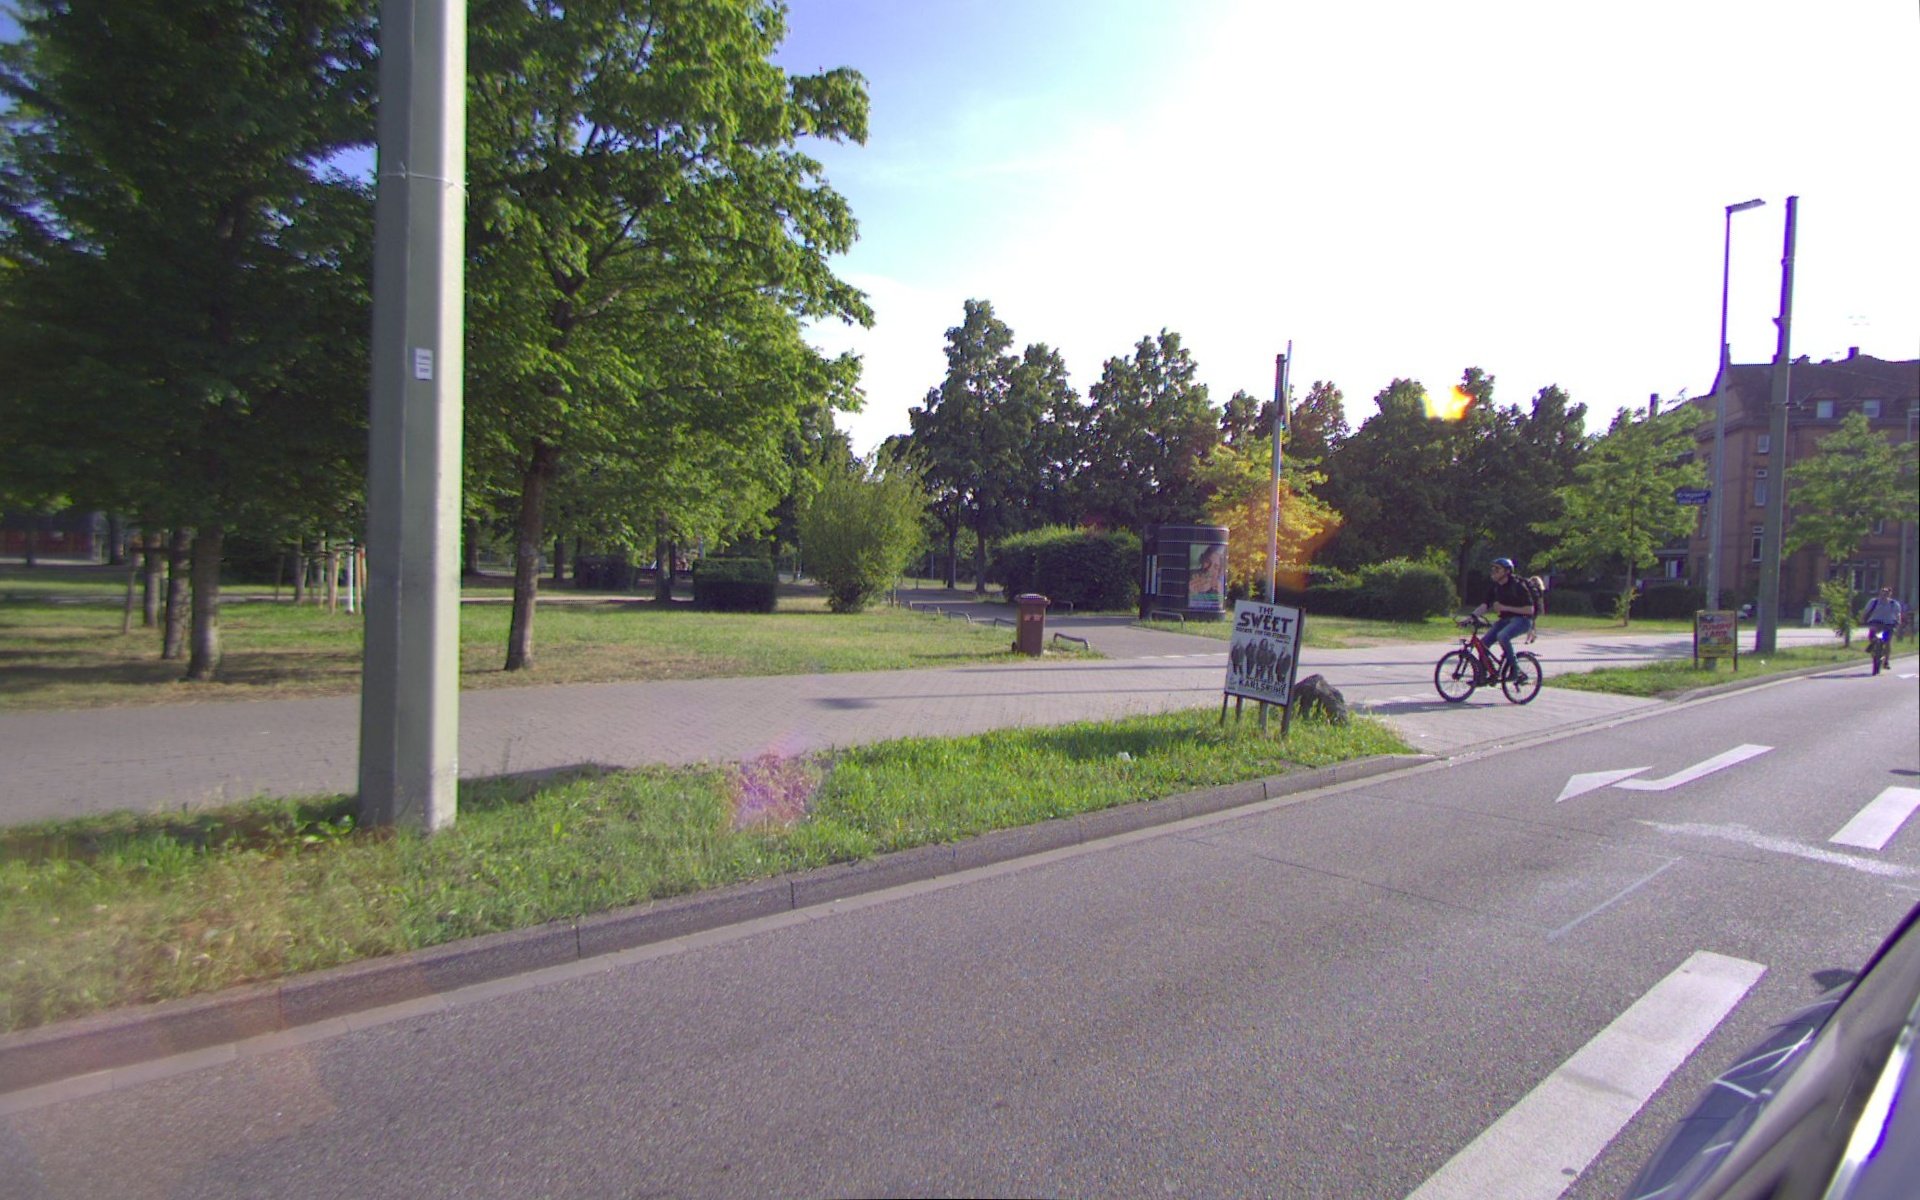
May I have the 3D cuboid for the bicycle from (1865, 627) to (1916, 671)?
[{"bbox_3d":[19.420,1.008,21.116,2.006,0.803,0.567,0,2,-42],"label":"bicycle"}]

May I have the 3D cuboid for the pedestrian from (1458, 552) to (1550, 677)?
[{"bbox_3d":[6.920,0.174,12.877,0.827,1.540,0.639,0,0,-19],"label":"pedestrian"}]

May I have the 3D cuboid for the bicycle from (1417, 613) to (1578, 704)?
[{"bbox_3d":[6.801,0.712,12.811,1.939,1.059,0.653,0,0,-19],"label":"bicycle"}]

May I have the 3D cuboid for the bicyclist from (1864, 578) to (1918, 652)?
[{"bbox_3d":[19.406,0.300,21.089,1.092,1.472,0.688,0,2,-42],"label":"bicyclist"}]

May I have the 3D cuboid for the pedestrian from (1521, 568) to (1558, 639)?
[{"bbox_3d":[14.290,0.082,24.969,0.607,1.706,0.621,1,0,-40],"label":"pedestrian"}]

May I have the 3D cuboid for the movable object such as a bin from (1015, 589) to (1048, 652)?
[{"bbox_3d":[1.089,0.304,15.454,0.447,0.929,0.605,2,2,1],"label":"movable object such as a bin"}]
